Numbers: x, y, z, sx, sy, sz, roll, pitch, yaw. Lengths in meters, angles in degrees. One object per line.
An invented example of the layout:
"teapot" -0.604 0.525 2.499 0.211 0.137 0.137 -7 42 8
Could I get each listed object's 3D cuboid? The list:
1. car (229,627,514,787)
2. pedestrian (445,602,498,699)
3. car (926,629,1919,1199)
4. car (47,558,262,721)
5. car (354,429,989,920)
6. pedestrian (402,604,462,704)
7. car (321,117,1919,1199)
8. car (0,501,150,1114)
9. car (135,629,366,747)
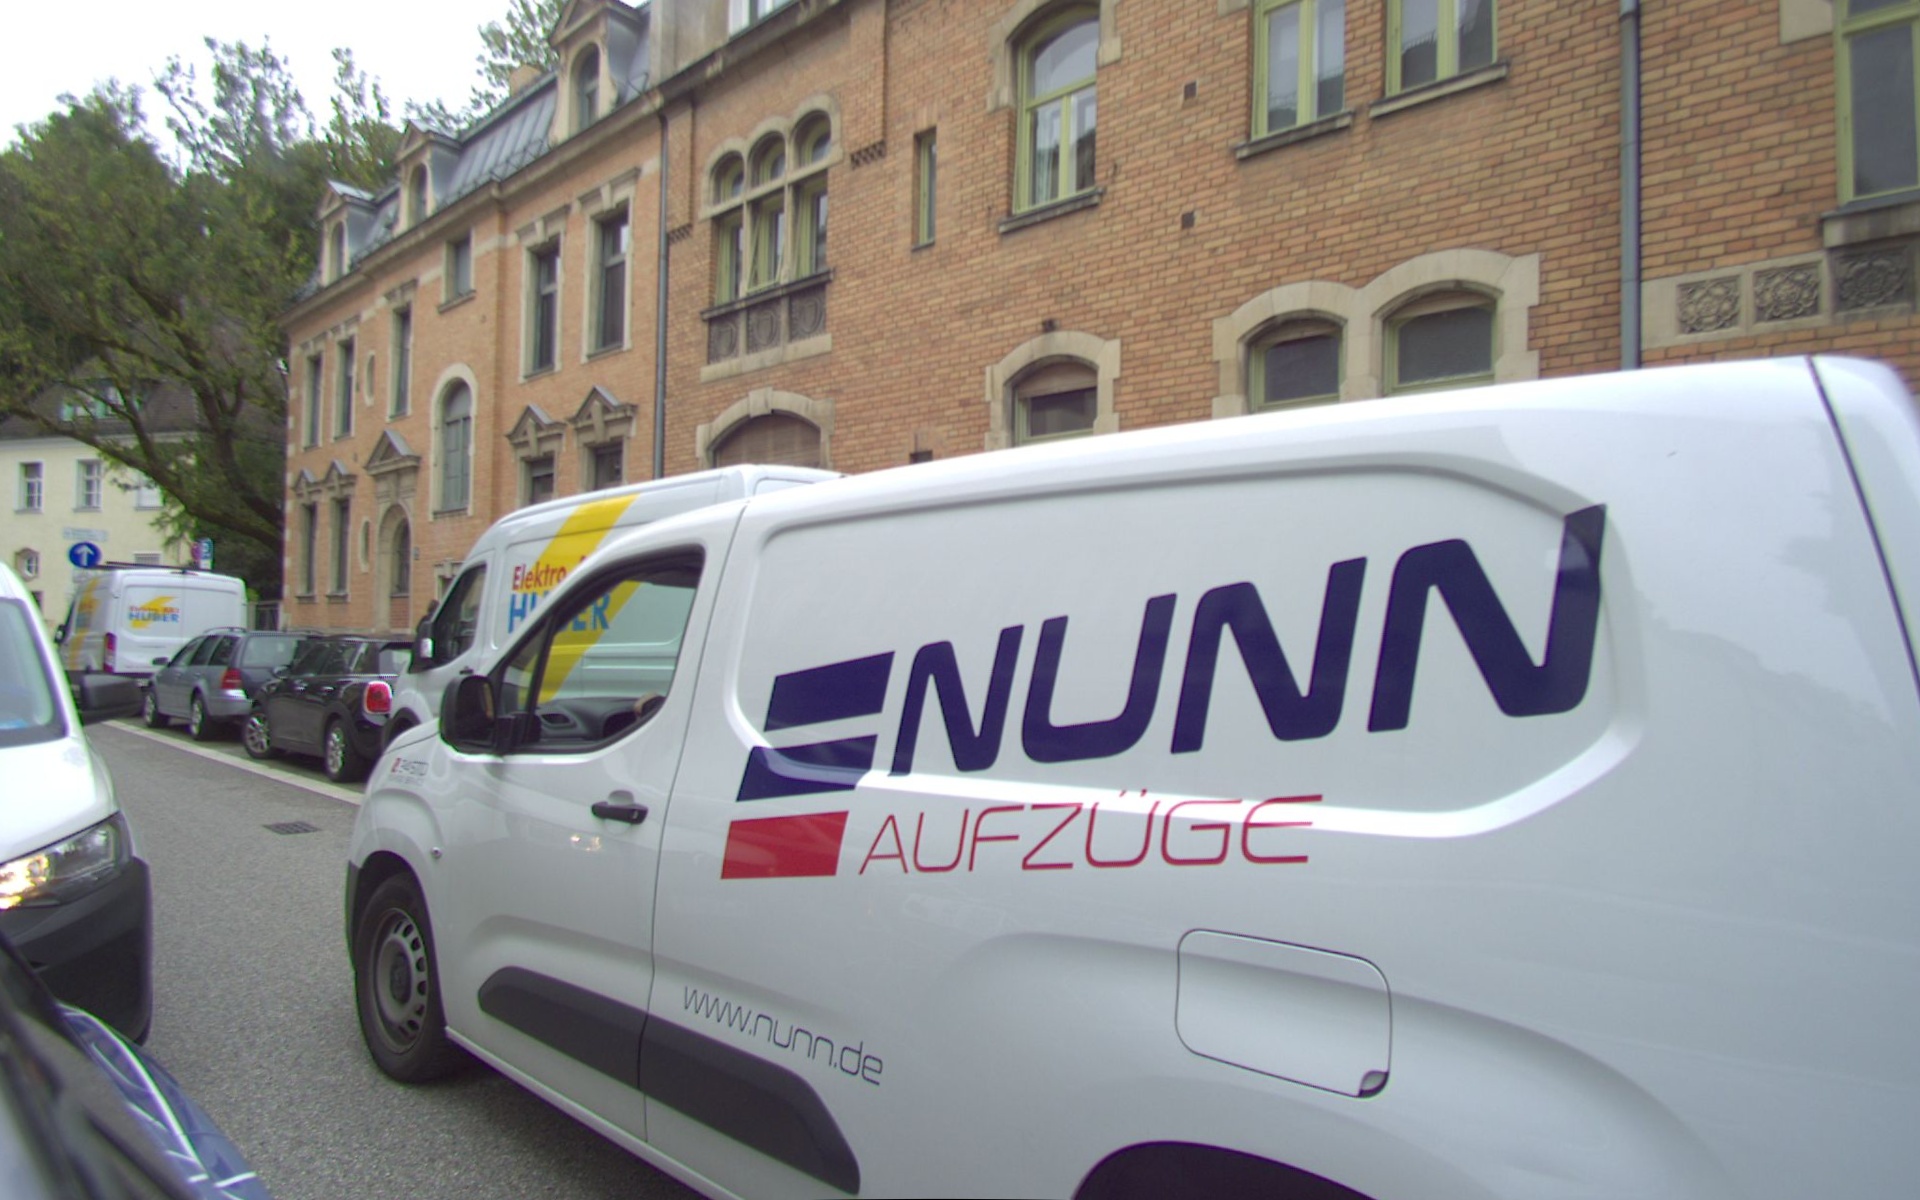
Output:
"car" -6.435 1.056 10.945 3.538 1.454 1.507 -2 -5 40
"pedestrian" -8.500 0.876 17.622 0.467 1.645 0.625 -1 -4 41
"car" 1.976 0.872 3.824 4.142 1.454 1.672 -1 -4 40
"car" -14.535 0.755 18.186 4.418 2.560 2.091 -2 -6 41
"car" -2.442 0.455 7.606 5.219 2.497 1.961 -1 -4 40
"pedestrian" -8.875 0.908 17.015 0.675 1.645 0.625 -1 -4 41
"car" 0.022 0.600 2.679 4.573 1.817 1.752 -1 -5 44
"car" -4.681 0.595 3.850 3.998 1.785 1.753 -1 -4 42
"car" -10.170 1.178 14.405 3.981 1.454 1.673 -2 -5 40
